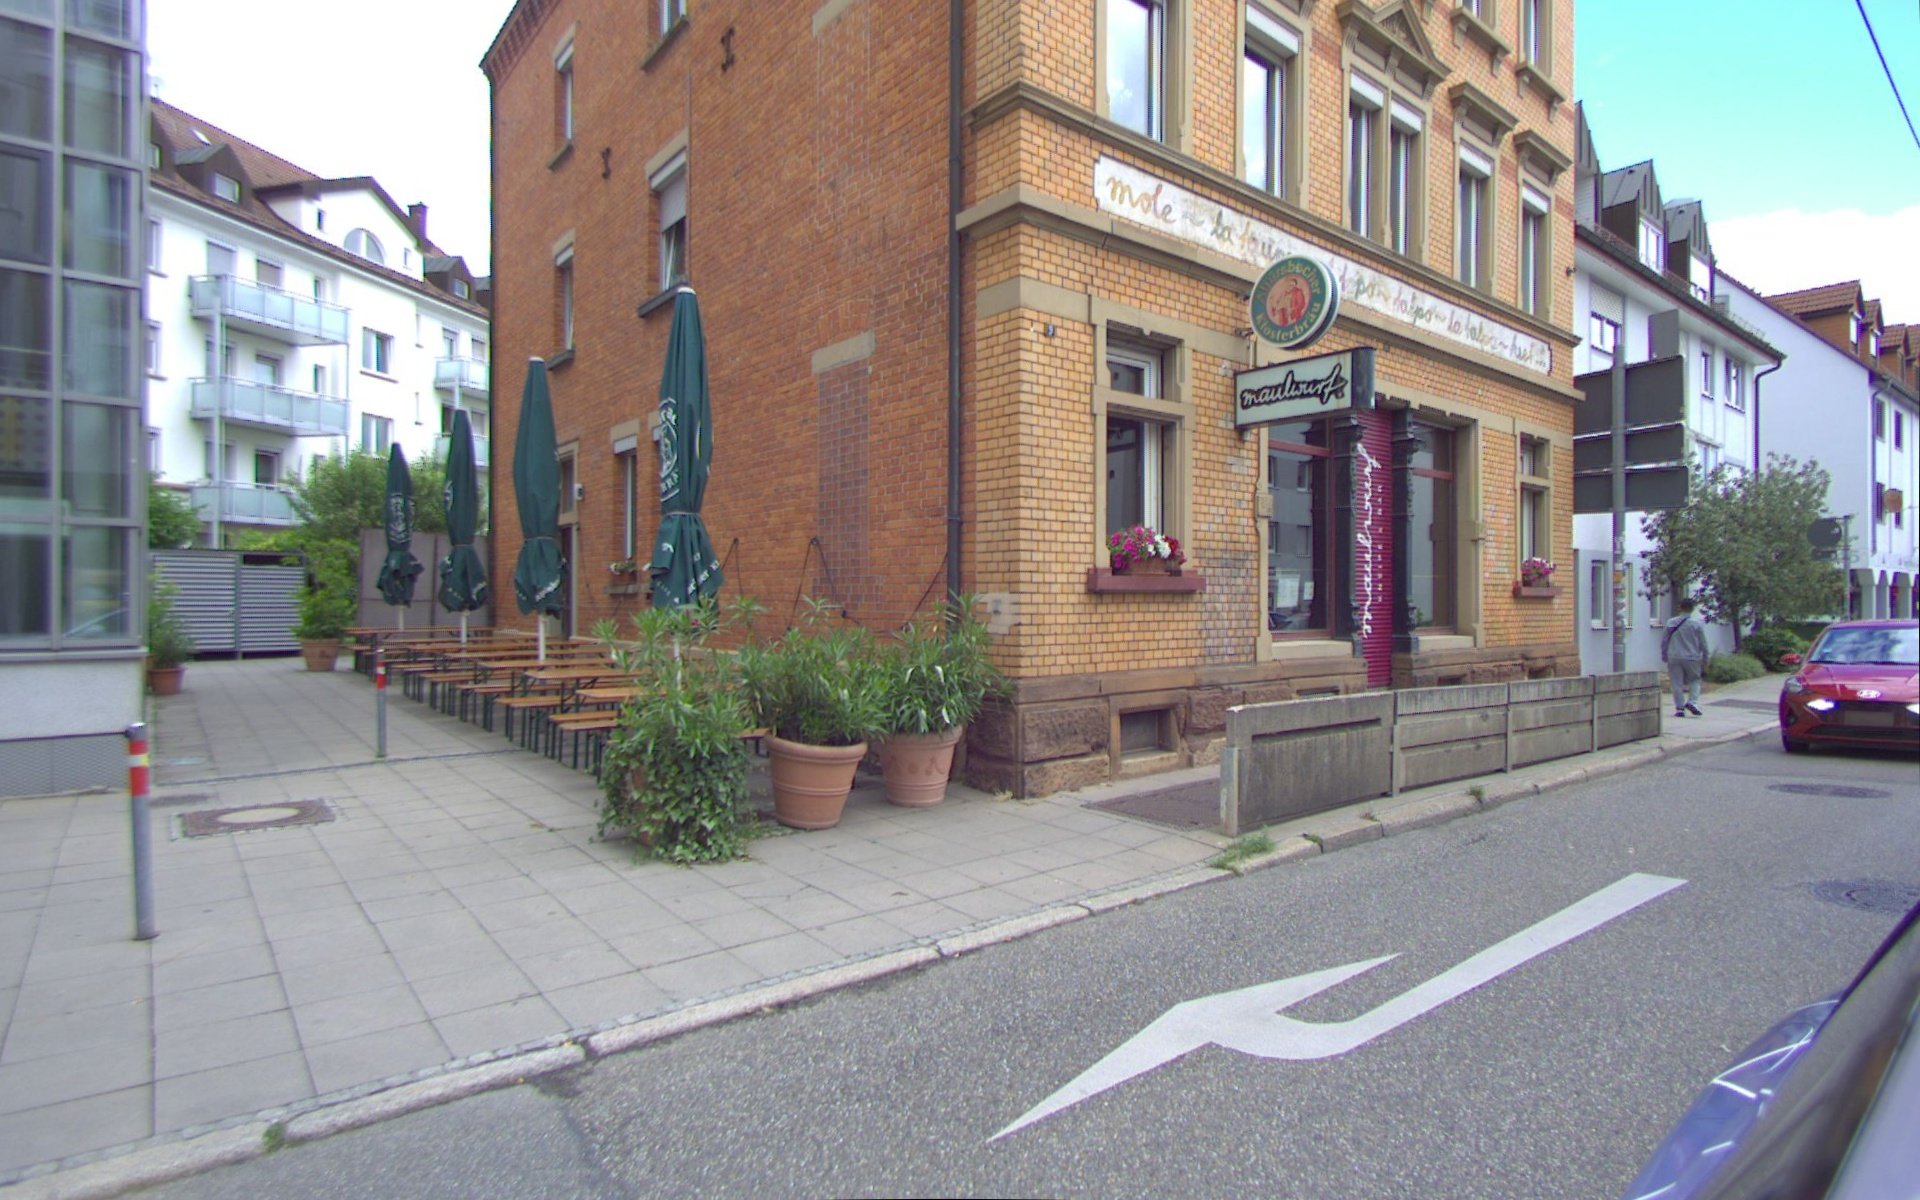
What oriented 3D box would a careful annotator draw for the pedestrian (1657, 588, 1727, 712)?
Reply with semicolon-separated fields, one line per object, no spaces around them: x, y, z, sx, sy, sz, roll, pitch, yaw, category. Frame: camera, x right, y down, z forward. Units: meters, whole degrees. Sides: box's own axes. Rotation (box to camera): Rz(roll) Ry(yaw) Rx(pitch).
10.640;0.699;14.711;0.638;1.753;0.689;1;0;-41;pedestrian

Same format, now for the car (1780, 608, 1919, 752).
11.093;0.829;11.796;3.930;1.471;1.700;0;-2;-41;car
